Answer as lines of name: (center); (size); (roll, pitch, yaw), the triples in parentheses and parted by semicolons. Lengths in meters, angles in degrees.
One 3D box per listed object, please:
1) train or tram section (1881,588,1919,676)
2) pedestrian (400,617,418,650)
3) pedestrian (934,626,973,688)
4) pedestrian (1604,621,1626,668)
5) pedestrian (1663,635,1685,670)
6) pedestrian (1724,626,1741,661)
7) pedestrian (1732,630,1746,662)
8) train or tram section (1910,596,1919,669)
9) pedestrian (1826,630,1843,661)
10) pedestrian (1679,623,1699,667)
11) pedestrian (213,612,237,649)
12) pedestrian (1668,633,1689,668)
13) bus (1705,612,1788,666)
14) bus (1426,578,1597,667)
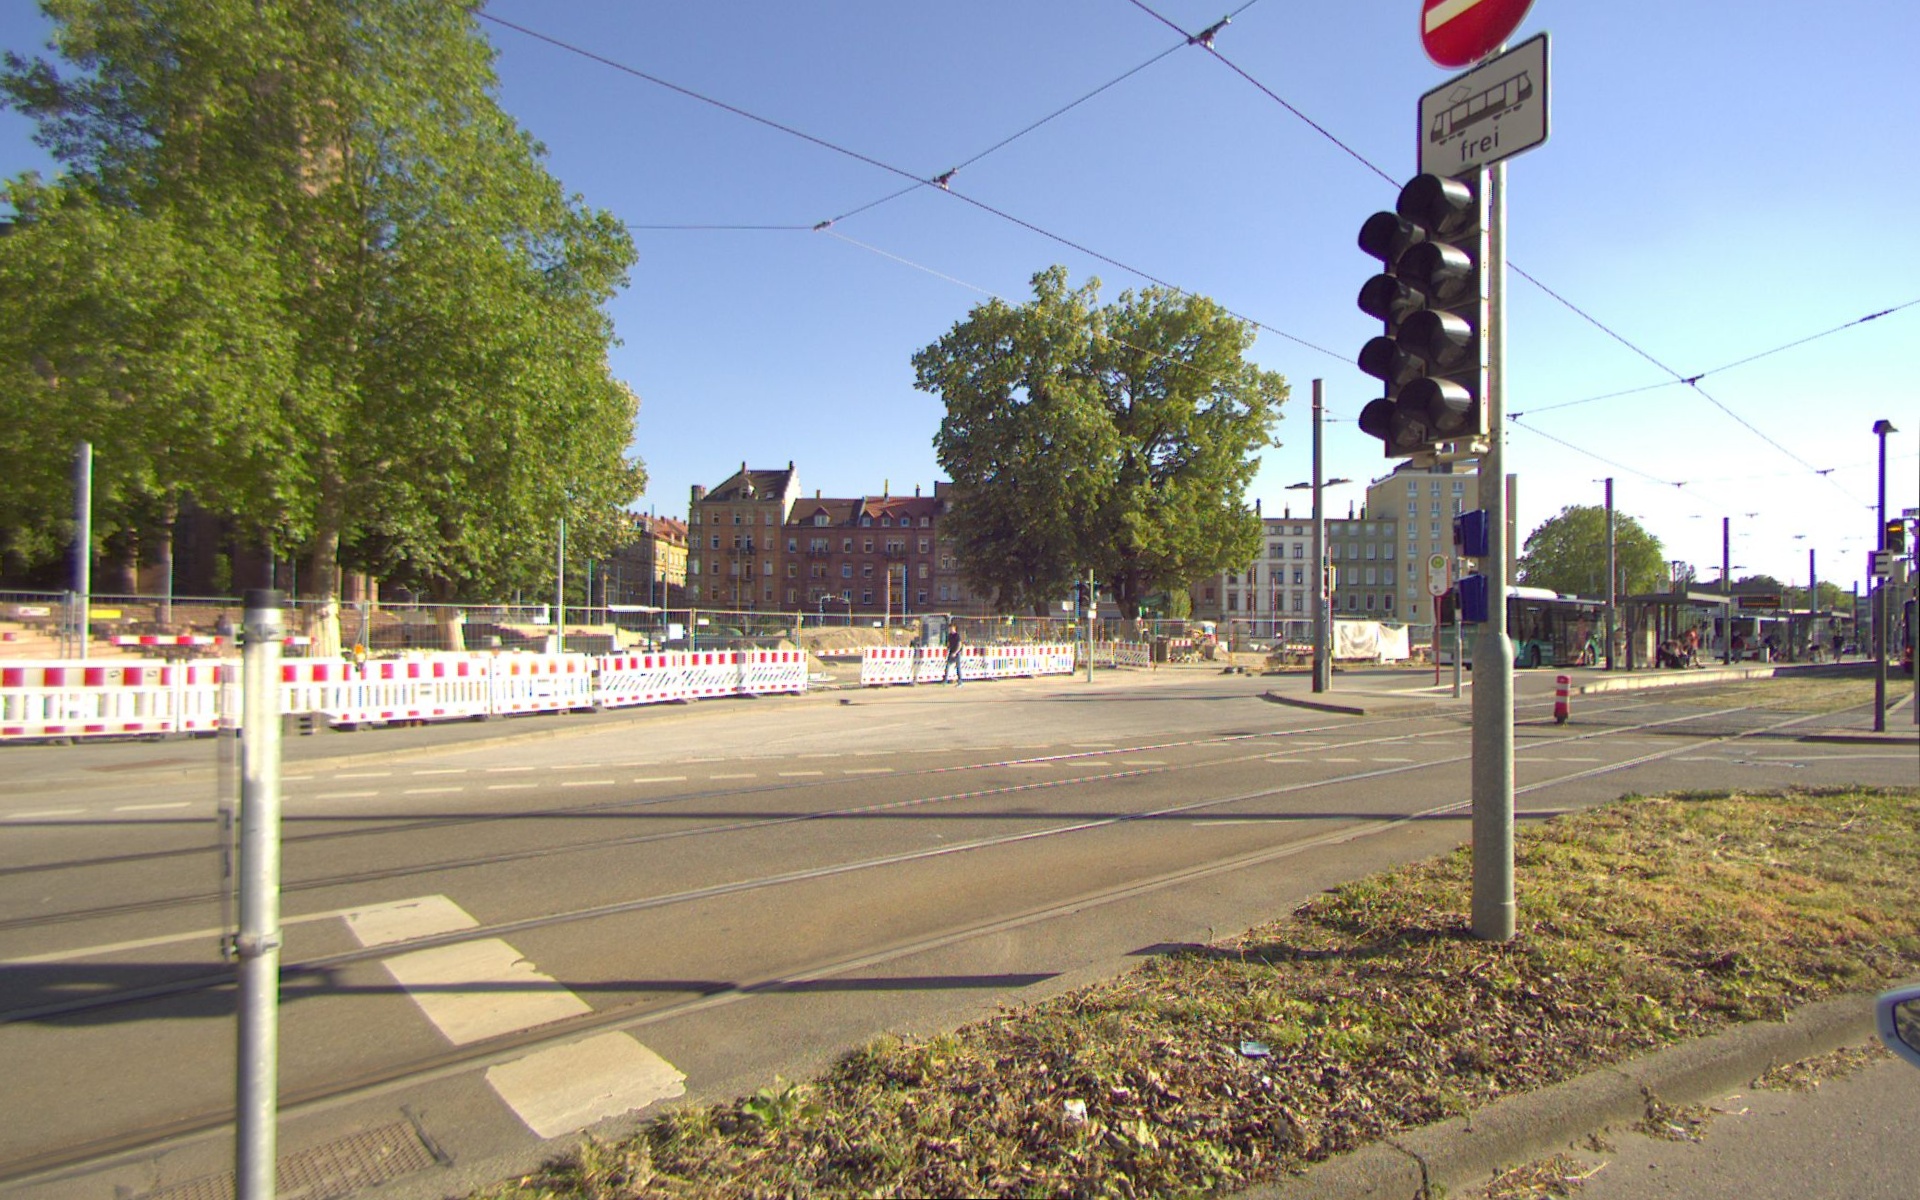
train or tram section: (44.758, 1.495, 45.828); (12.108, 3.644, 2.855); (2, 0, -42)
pedestrian: (-27.699, 1.677, 50.497); (0.751, 1.669, 0.671); (1, -1, -26)
pedestrian: (-0.187, 1.632, 28.754); (0.699, 1.719, 0.899); (-1, -4, 33)
pedestrian: (25.149, 1.704, 38.540); (0.554, 1.772, 0.534); (2, -2, -35)
pedestrian: (27.676, 2.022, 38.933); (0.609, 1.358, 0.438); (-1, -2, 44)
pedestrian: (40.096, 2.254, 52.159); (0.629, 1.772, 0.570); (-1, -2, 34)
pedestrian: (44.751, 2.640, 57.706); (0.564, 1.772, 0.636); (-1, -2, 41)
train or tram section: (53.895, 1.823, 53.781); (12.100, 3.644, 2.987); (2, 0, -40)
pedestrian: (49.299, 2.559, 56.611); (0.629, 1.772, 0.570); (-1, -2, 34)
pedestrian: (29.564, 1.814, 40.729); (0.564, 1.772, 0.636); (-1, -2, 43)
pedestrian: (-33.463, 1.398, 45.718); (0.665, 1.669, 0.635); (1, -1, -18)
pedestrian: (28.185, 1.986, 39.409); (0.564, 1.363, 0.636); (-1, -2, 43)
bus: (53.964, 2.635, 68.750); (13.376, 3.317, 2.694); (2, 0, -44)
bus: (22.004, 0.902, 39.751); (9.564, 3.177, 2.631); (2, 0, -40)
